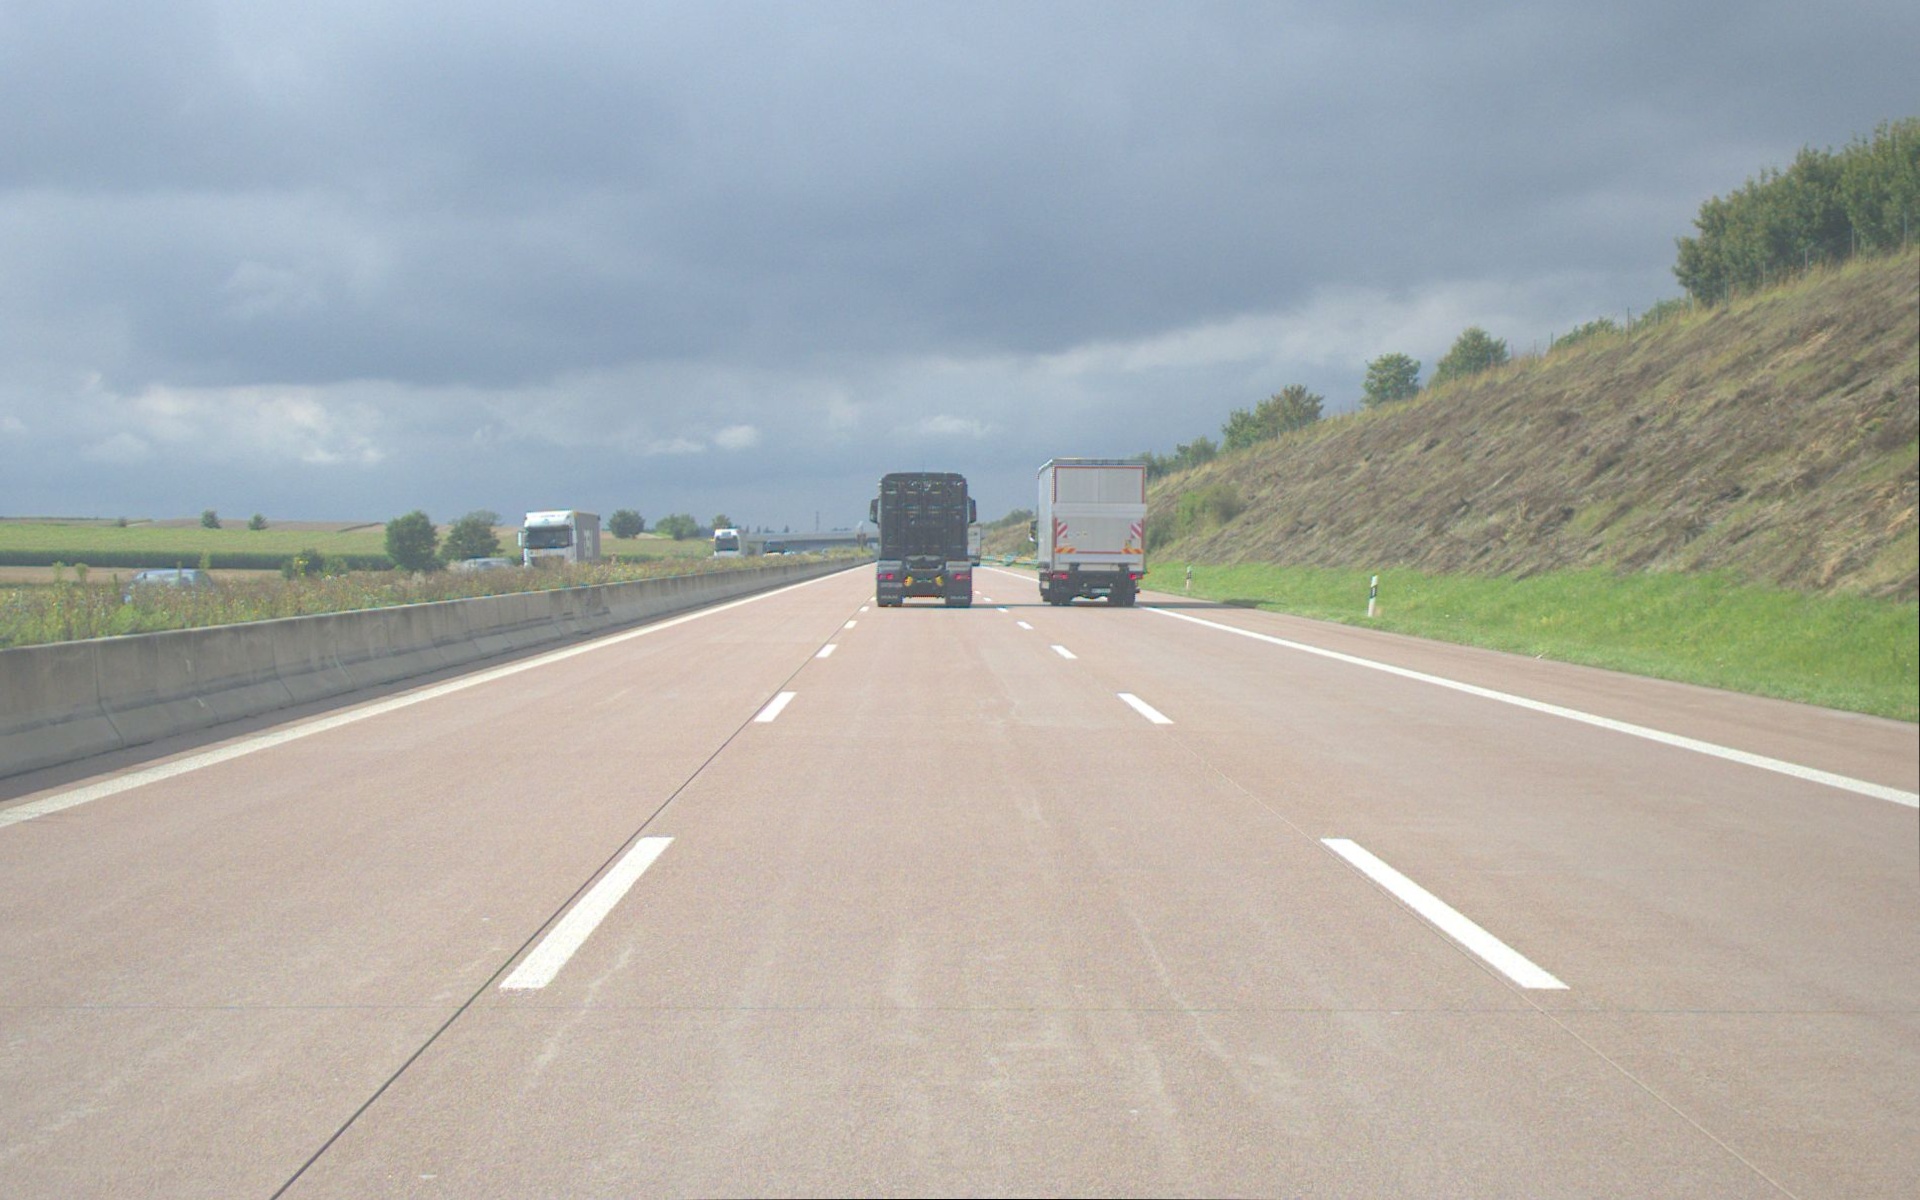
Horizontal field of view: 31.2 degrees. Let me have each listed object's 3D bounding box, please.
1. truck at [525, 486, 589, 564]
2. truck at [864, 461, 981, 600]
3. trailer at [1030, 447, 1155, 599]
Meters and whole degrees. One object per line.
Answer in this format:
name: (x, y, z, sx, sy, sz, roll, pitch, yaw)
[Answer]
truck: (-20.948, -3.904, 178.783, 2.770, 3.945, 5.291, -1, 1, -1)
truck: (-1.073, -1.820, 92.171, 2.847, 3.537, 8.320, 1, 1, -2)
trailer: (3.611, -2.093, 95.724, 2.747, 3.998, 8.671, 1, 1, -3)
